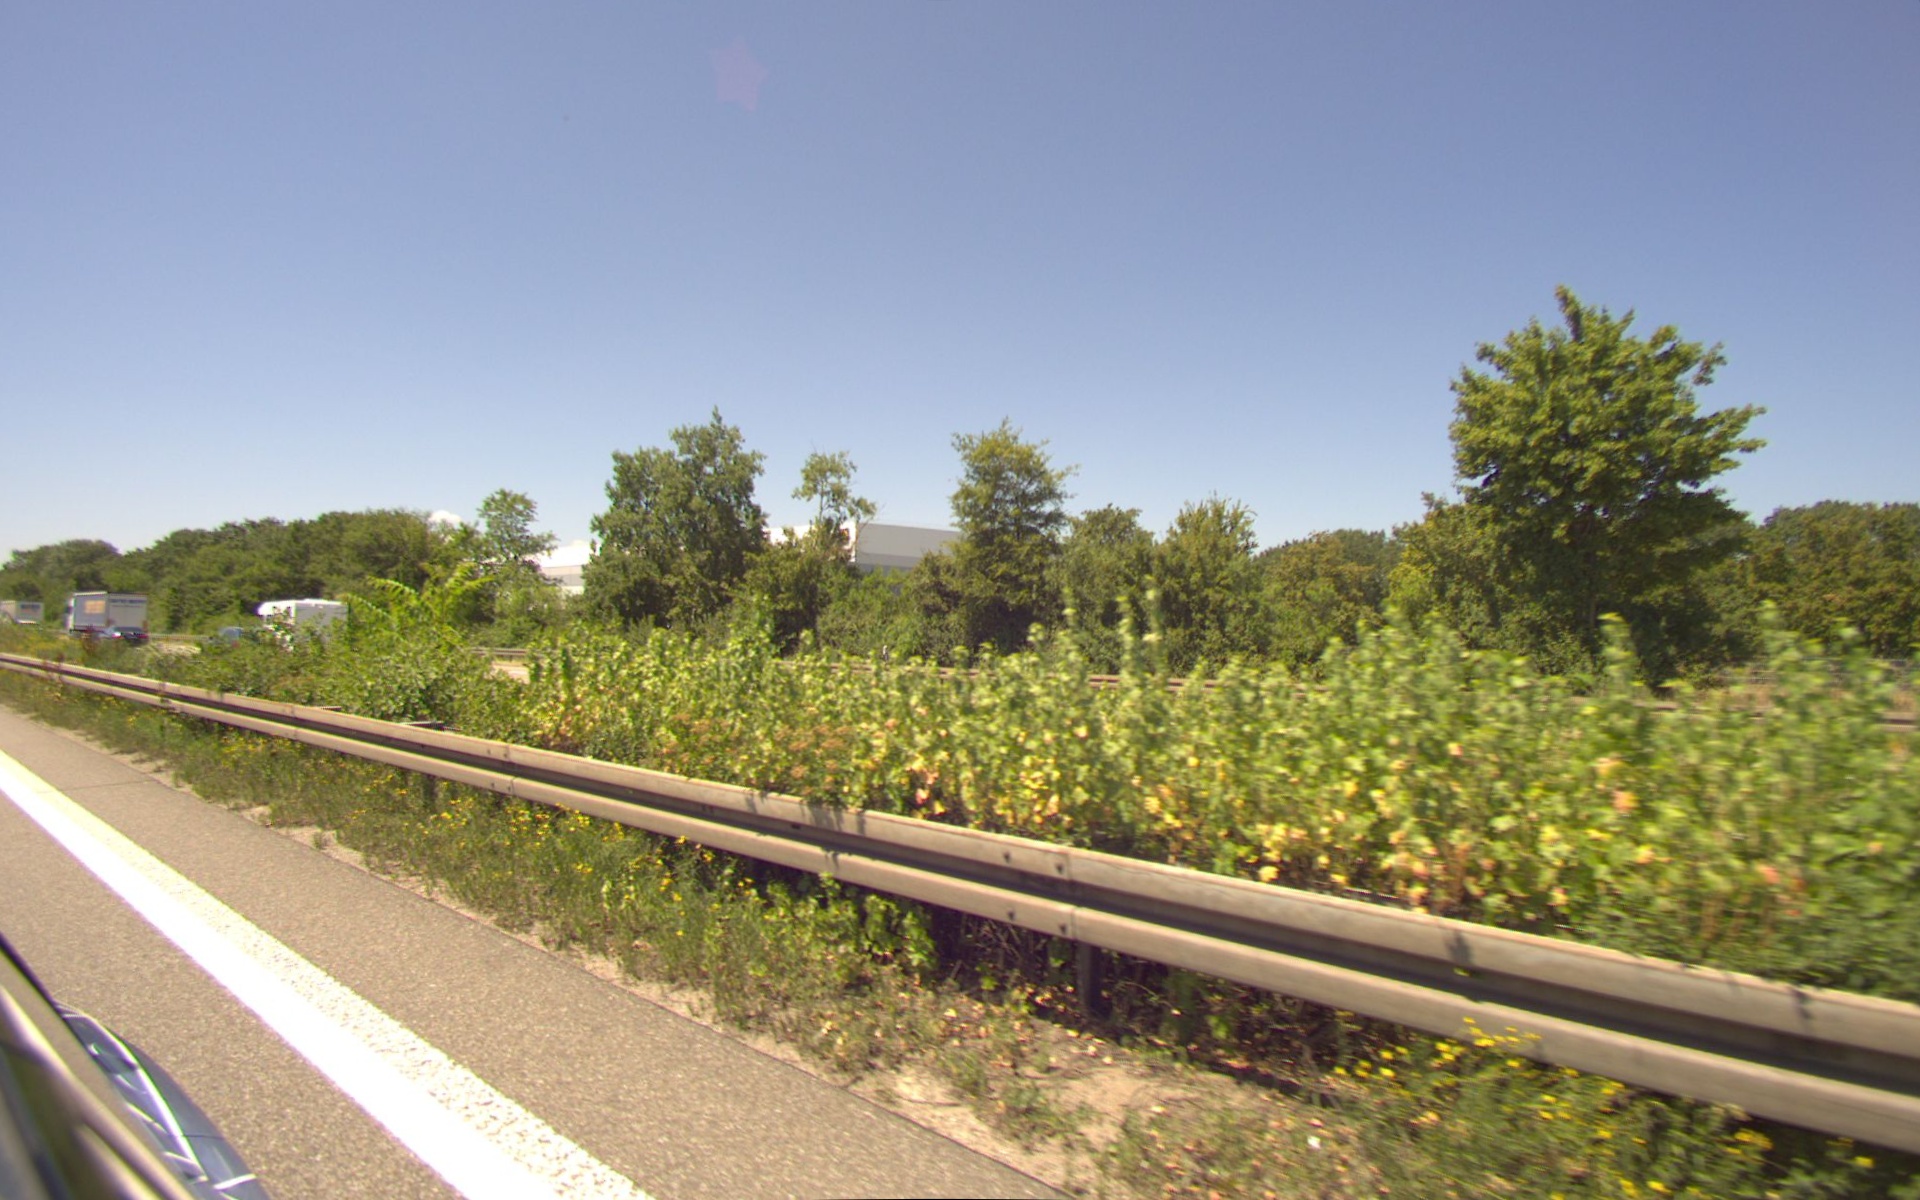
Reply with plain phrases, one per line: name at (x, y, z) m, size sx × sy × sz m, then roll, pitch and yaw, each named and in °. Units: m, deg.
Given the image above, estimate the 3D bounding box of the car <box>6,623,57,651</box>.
car at (-58.914, 2.339, 64.196) m, size 4.588 × 1.627 × 1.716 m, roll -1°, pitch -7°, yaw 41°

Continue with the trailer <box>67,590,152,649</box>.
trailer at (-67.460, 1.427, 80.112) m, size 13.731 × 4.243 × 2.946 m, roll 1°, pitch -2°, yaw 41°

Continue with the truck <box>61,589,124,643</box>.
truck at (-72.524, 1.326, 84.580) m, size 6.309 × 4.243 × 2.975 m, roll 1°, pitch -2°, yaw 41°

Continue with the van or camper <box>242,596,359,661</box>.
van or camper at (-32.858, 1.419, 50.309) m, size 7.443 × 2.992 × 2.820 m, roll -1°, pitch -4°, yaw 41°

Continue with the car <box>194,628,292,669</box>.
car at (-27.714, 1.860, 39.068) m, size 4.748 × 1.479 × 1.937 m, roll -1°, pitch -4°, yaw 41°

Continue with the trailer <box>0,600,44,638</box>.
trailer at (-111.443, 2.305, 119.855) m, size 14.047 × 4.134 × 2.728 m, roll -1°, pitch -4°, yaw 42°

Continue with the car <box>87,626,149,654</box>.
car at (-49.531, 2.349, 59.542) m, size 3.856 × 1.564 × 1.802 m, roll -1°, pitch -3°, yaw 34°
